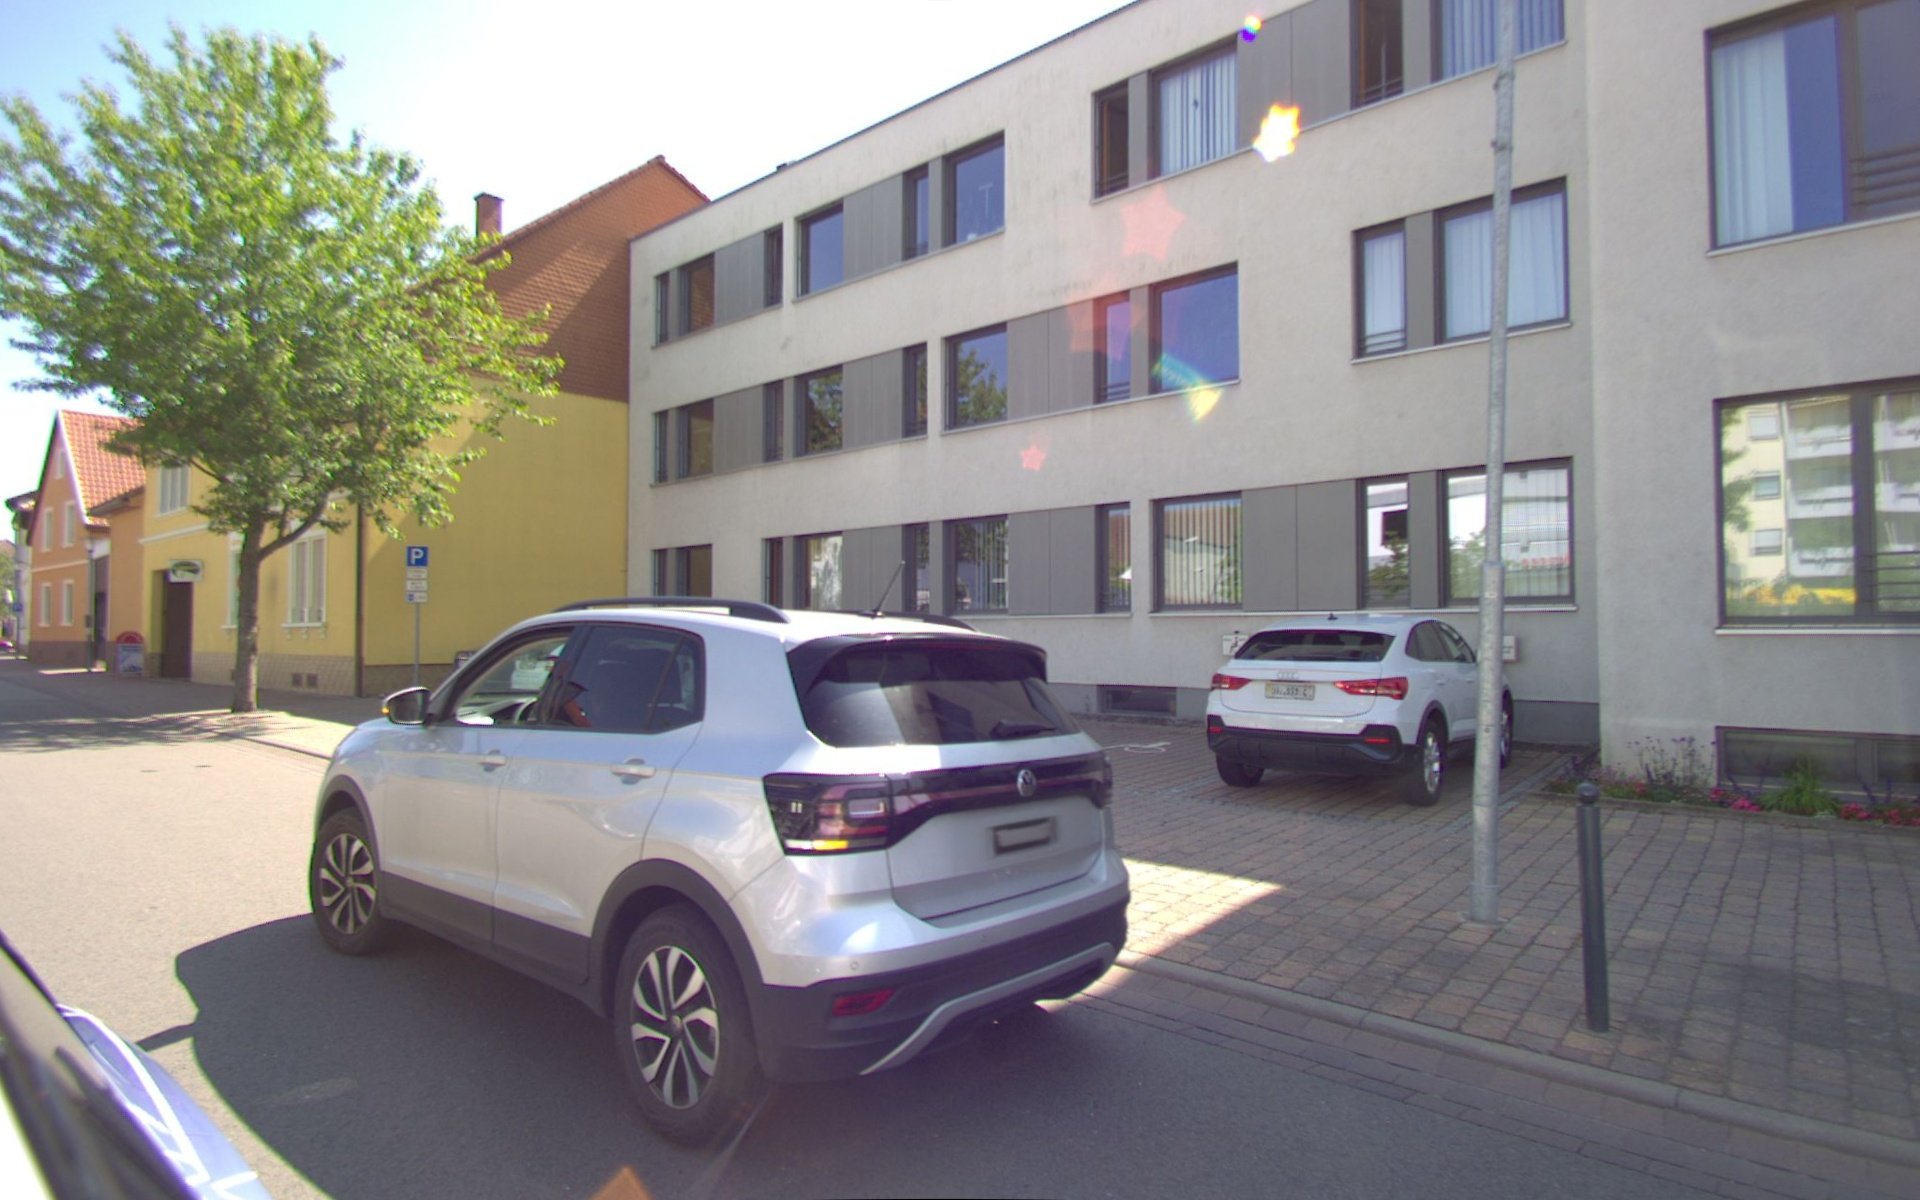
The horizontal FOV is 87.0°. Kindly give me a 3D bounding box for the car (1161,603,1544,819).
[{"bbox_3d":[3.980,0.849,9.773,2.146,1.566,4.461,-2,-2,40],"label":"car"}]

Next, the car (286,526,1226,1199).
[{"bbox_3d":[-1.142,0.703,4.276,3.998,1.585,1.832,-2,-3,41],"label":"car"}]

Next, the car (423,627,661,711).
[{"bbox_3d":[-8.199,1.299,20.128,1.969,1.442,3.950,-2,-2,37],"label":"car"}]

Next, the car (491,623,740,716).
[{"bbox_3d":[-6.184,1.188,18.468,1.806,1.462,3.946,-3,-2,40],"label":"car"}]

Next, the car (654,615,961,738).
[{"bbox_3d":[-2.158,1.022,15.394,1.934,1.566,4.457,-1,-1,41],"label":"car"}]
